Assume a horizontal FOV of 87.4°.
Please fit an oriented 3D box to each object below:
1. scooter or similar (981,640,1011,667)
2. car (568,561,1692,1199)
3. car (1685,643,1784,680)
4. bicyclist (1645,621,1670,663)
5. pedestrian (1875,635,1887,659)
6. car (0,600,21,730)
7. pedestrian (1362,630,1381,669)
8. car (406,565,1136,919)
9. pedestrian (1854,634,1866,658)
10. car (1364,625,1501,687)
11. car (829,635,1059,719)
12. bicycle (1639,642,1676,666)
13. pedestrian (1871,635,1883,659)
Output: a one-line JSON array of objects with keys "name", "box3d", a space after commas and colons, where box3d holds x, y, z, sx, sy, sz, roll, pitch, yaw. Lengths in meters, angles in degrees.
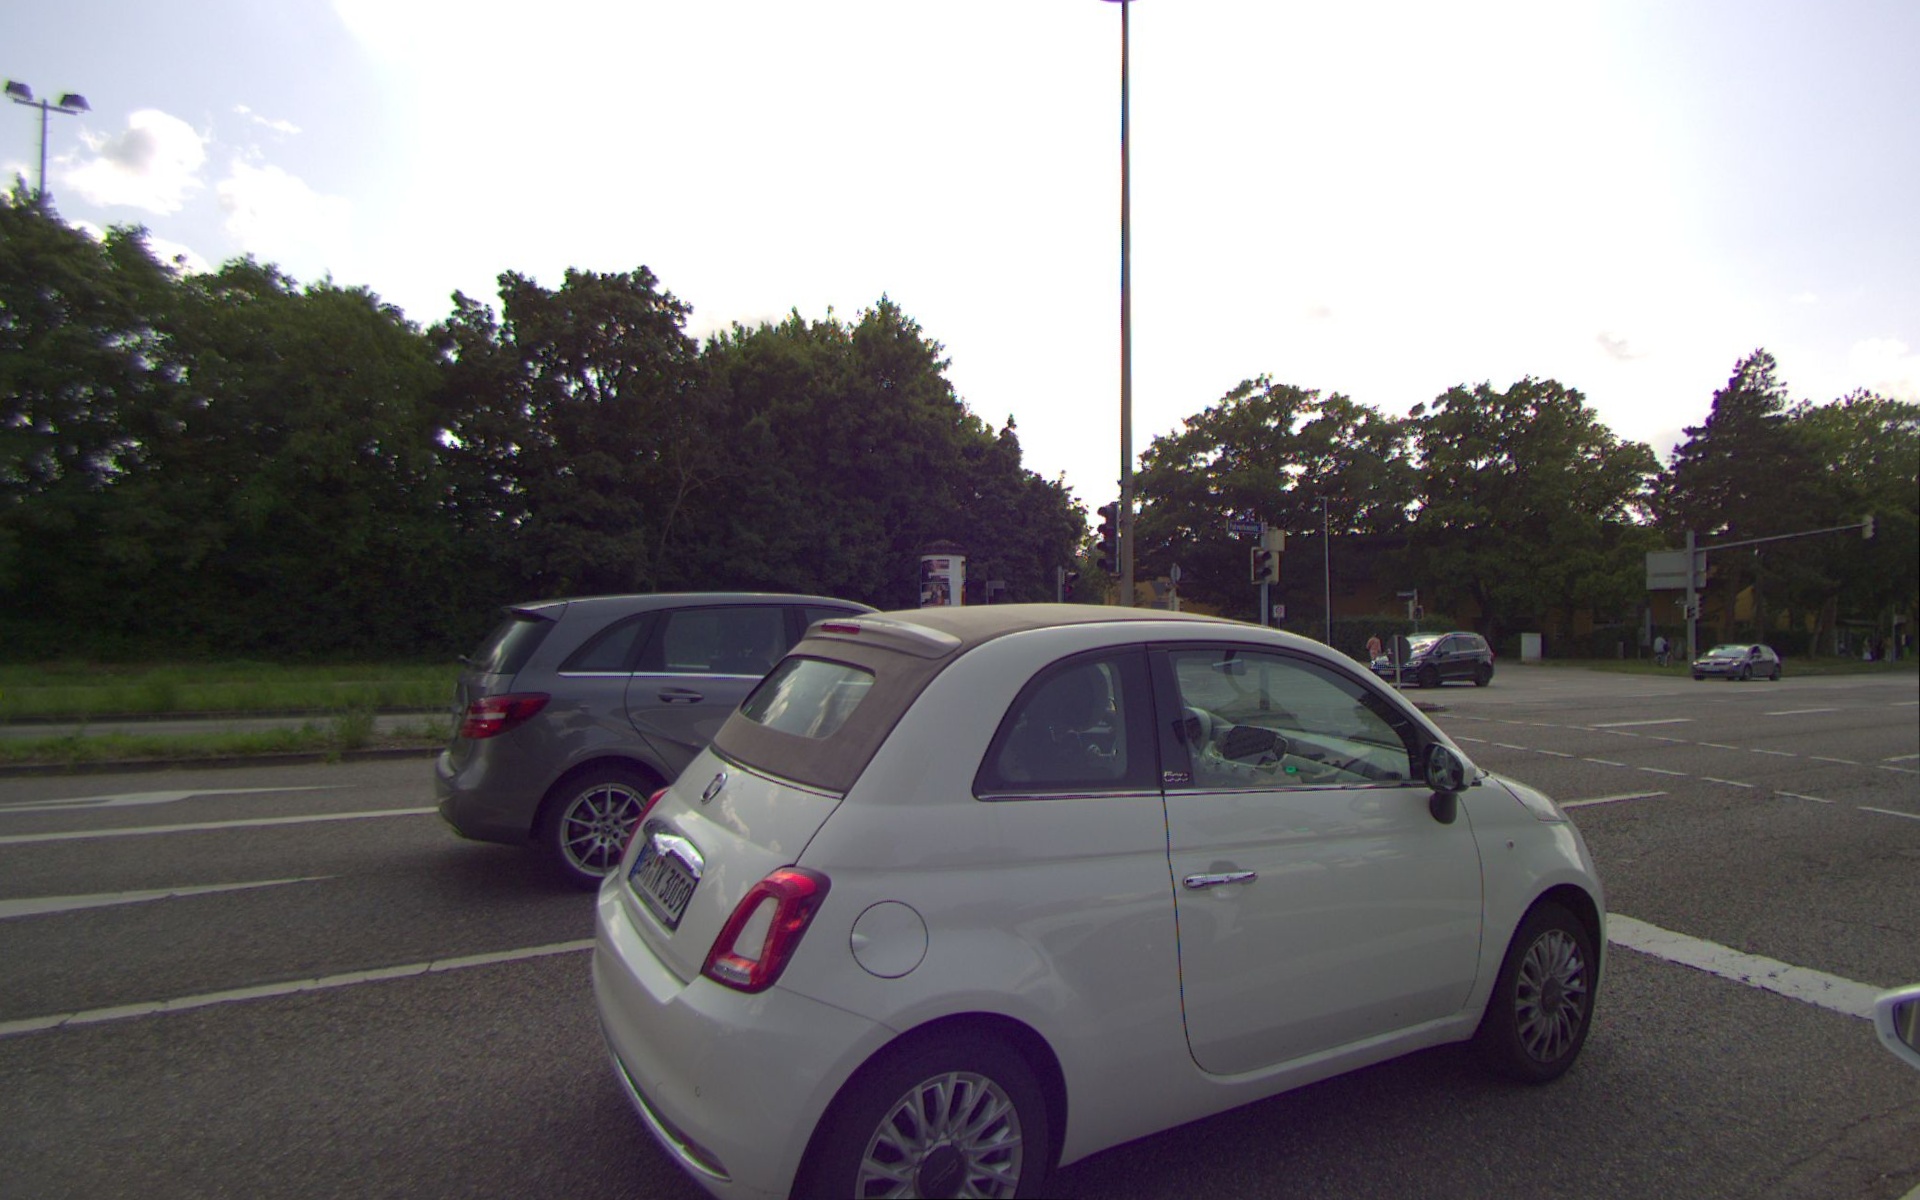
[{"name": "scooter or similar", "box3d": [1.322, 1.949, 36.712, 1.022, 0.954, 0.295, 2, 0, -24]}, {"name": "car", "box3d": [0.688, 0.744, 3.357, 3.499, 1.517, 1.562, 2, 0, -30]}, {"name": "car", "box3d": [30.381, 2.388, 39.381, 4.030, 1.390, 1.588, 1, -2, -28]}, {"name": "bicyclist", "box3d": [34.674, 2.091, 49.946, 0.822, 2.040, 0.747, 1, -2, -32]}, {"name": "pedestrian", "box3d": [59.775, 3.045, 65.183, 0.418, 1.515, 0.564, 2, 0, -45]}, {"name": "car", "box3d": [-15.115, 0.829, 12.838, 4.205, 1.817, 1.663, 2, -2, -30]}, {"name": "pedestrian", "box3d": [18.714, 2.261, 45.727, 0.678, 1.765, 0.705, 0, -2, 13]}, {"name": "car", "box3d": [-1.087, 0.739, 6.493, 4.309, 1.640, 1.690, 2, -1, -30]}, {"name": "pedestrian", "box3d": [59.745, 3.058, 66.688, 0.418, 1.515, 0.564, 2, 0, -45]}, {"name": "car", "box3d": [14.435, 1.689, 30.621, 4.260, 1.764, 1.663, 2, -2, -30]}, {"name": "car", "box3d": [-0.258, 1.312, 17.465, 3.650, 1.325, 1.745, 2, -4, -30]}, {"name": "bicycle", "box3d": [34.673, 2.673, 49.928, 2.091, 1.133, 0.751, 2, -2, -33]}, {"name": "pedestrian", "box3d": [60.335, 3.074, 66.079, 0.418, 1.515, 0.564, 2, 0, -45]}]
